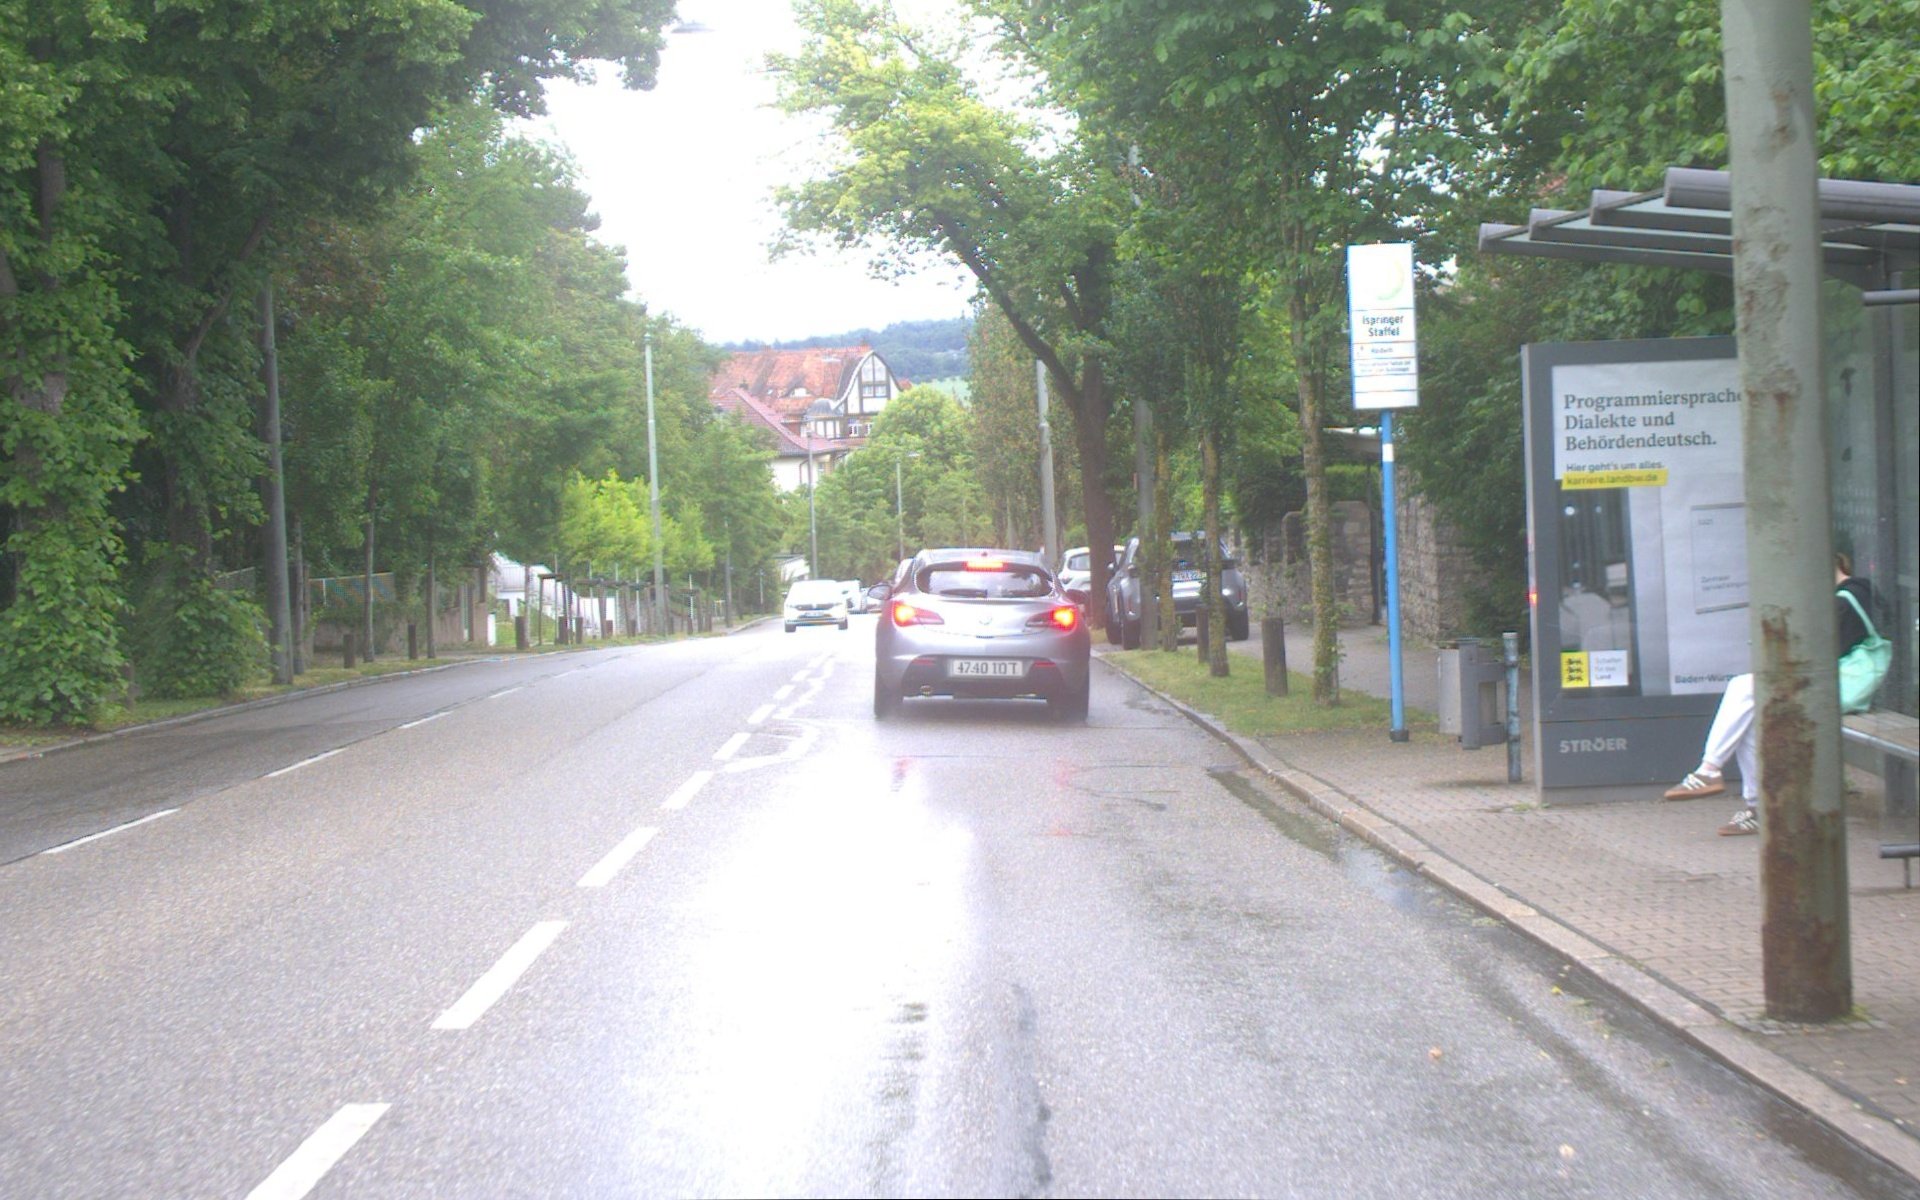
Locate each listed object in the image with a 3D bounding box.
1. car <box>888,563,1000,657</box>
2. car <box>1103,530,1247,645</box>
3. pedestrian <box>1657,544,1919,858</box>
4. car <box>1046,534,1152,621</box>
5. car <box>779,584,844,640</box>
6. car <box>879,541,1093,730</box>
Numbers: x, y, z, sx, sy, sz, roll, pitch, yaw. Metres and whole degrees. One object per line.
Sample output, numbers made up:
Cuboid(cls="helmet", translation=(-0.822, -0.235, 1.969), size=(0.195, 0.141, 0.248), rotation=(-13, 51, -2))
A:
Cuboid(cls="car", translation=(-0.260, 0.179, 56.429), size=(1.754, 1.459, 4.000), rotation=(1, -1, 0))
Cuboid(cls="car", translation=(3.007, -0.214, 48.682), size=(1.721, 1.459, 4.000), rotation=(-3, 2, 0))
Cuboid(cls="pedestrian", translation=(3.830, 0.449, 15.859), size=(1.074, 1.351, 0.918), rotation=(-3, 1, 7))
Cuboid(cls="car", translation=(2.554, -0.442, 63.841), size=(1.721, 1.459, 4.000), rotation=(-3, 2, 0))
Cuboid(cls="car", translation=(-4.332, 0.338, 100.499), size=(1.721, 1.459, 4.000), rotation=(2, 2, -1))
Cuboid(cls="car", translation=(0.252, 0.257, 30.379), size=(1.754, 1.459, 4.000), rotation=(1, 2, 1))
